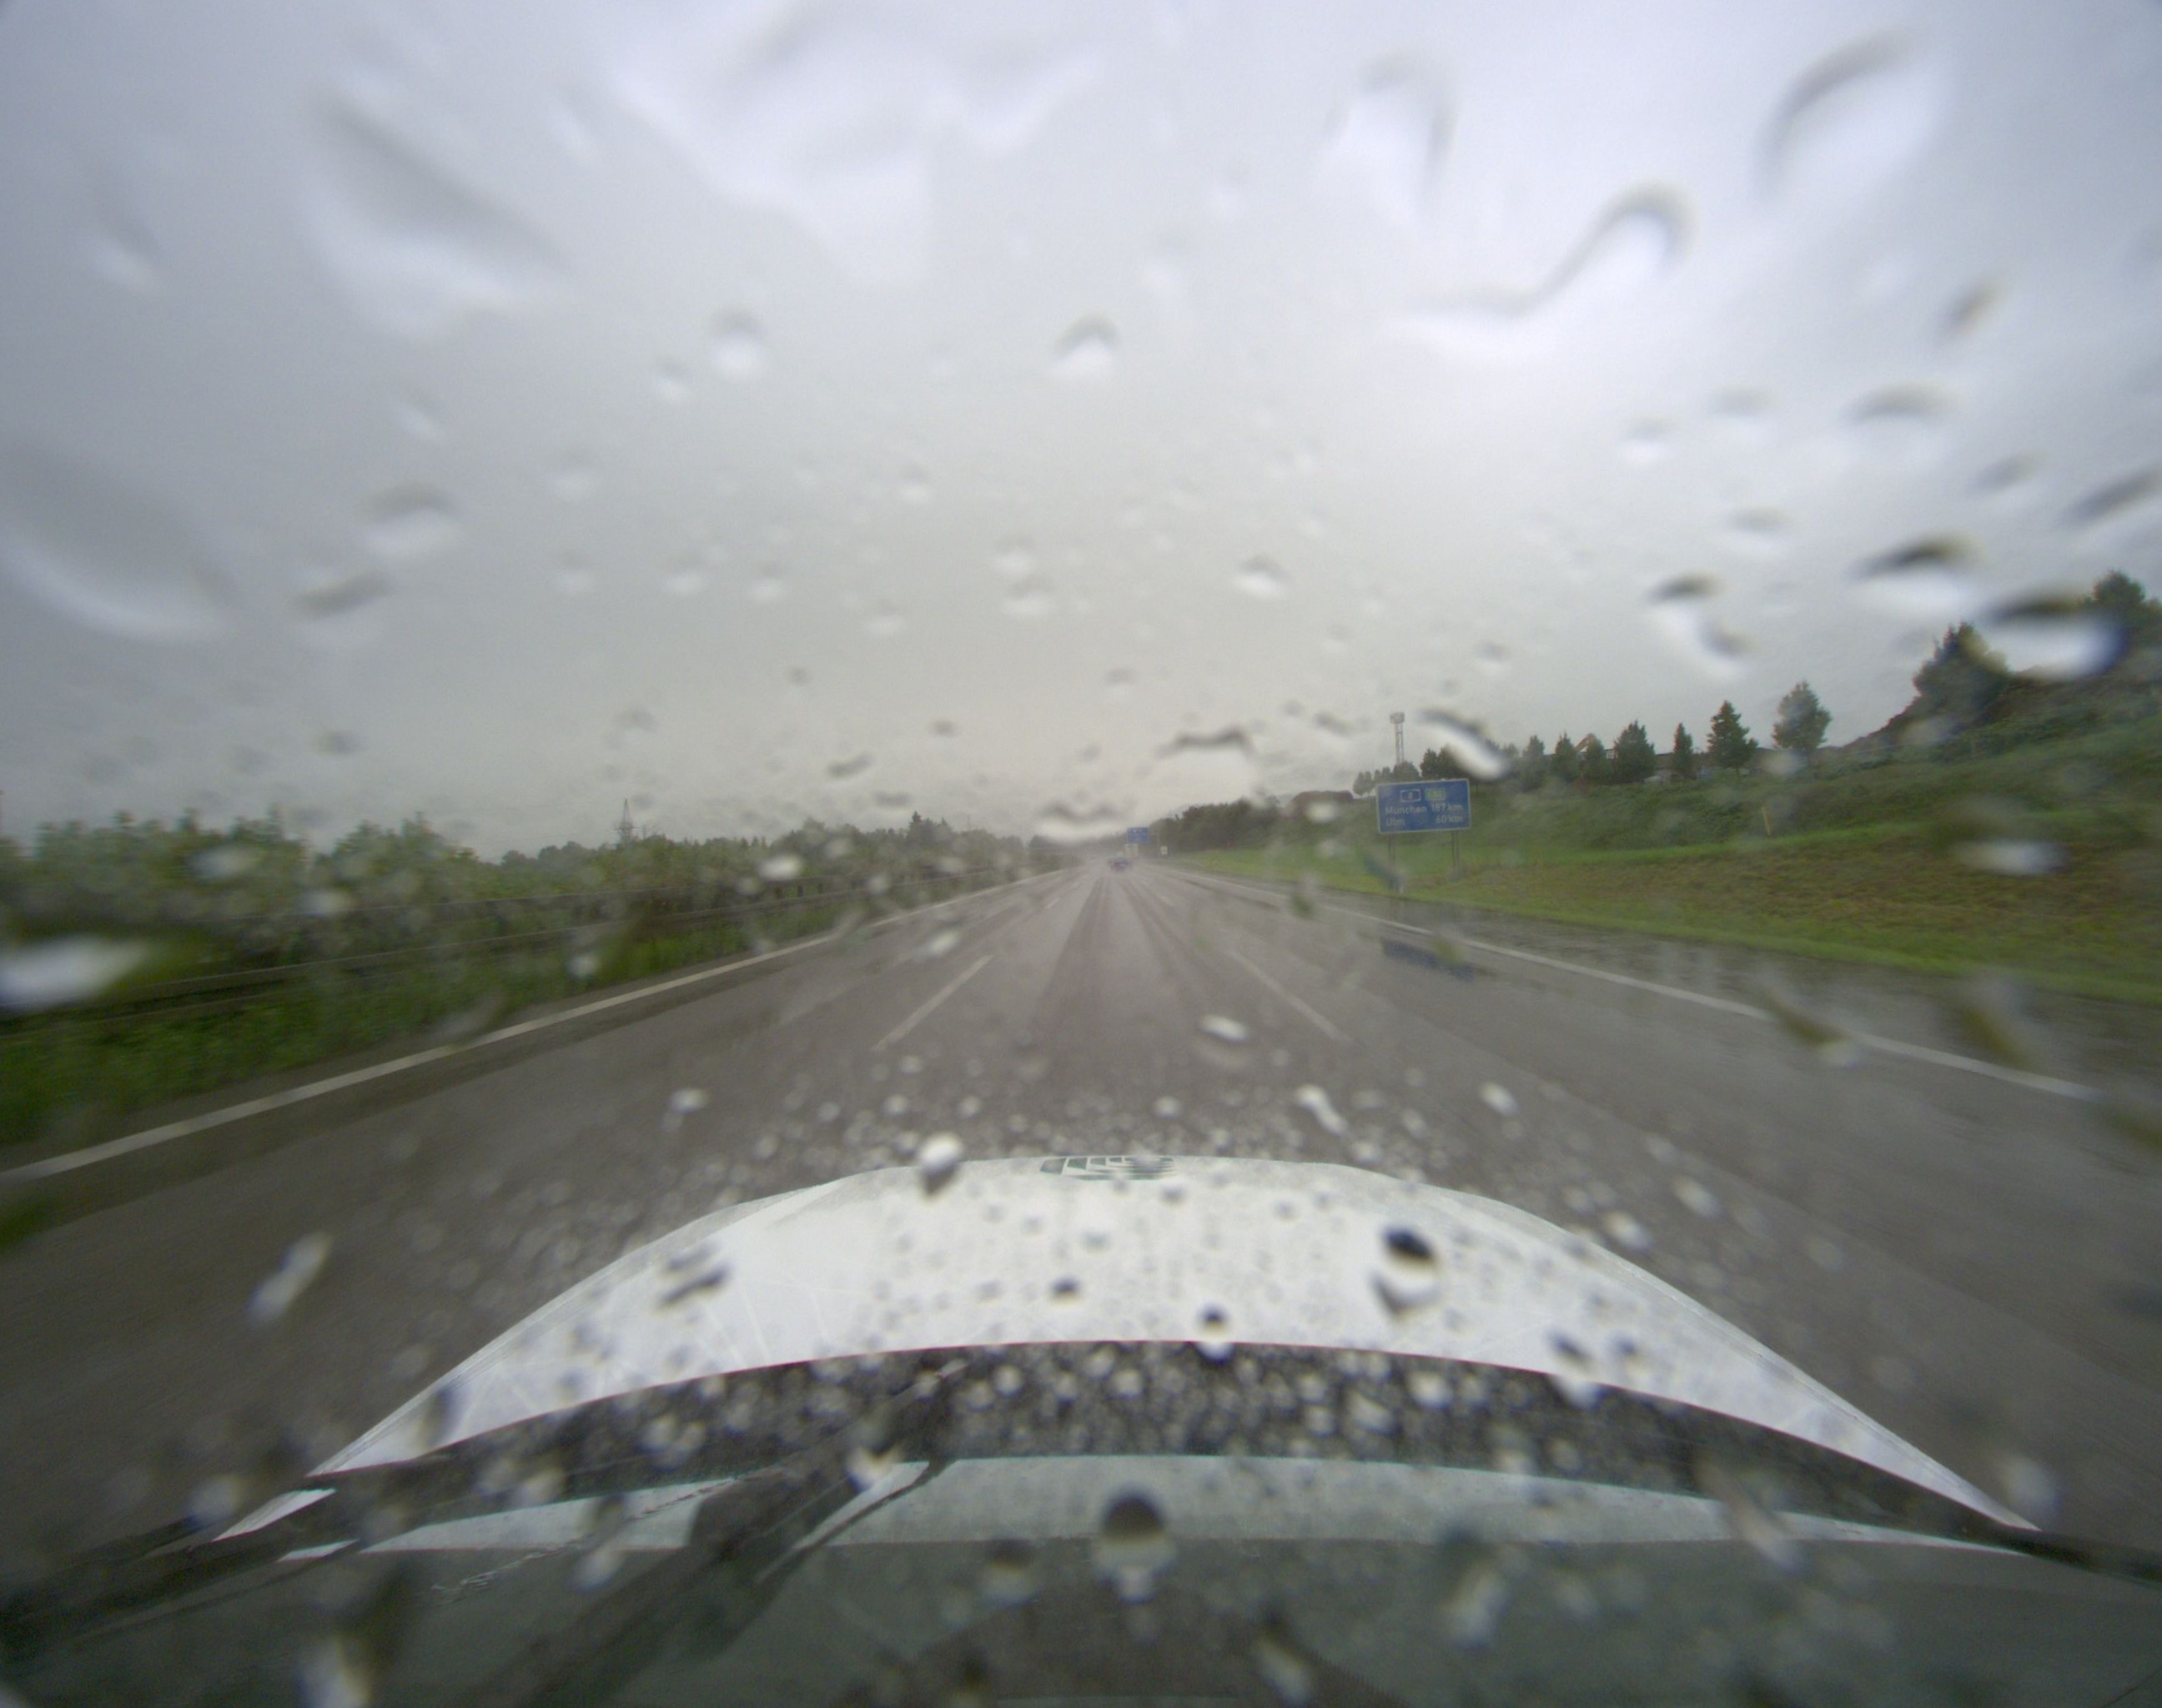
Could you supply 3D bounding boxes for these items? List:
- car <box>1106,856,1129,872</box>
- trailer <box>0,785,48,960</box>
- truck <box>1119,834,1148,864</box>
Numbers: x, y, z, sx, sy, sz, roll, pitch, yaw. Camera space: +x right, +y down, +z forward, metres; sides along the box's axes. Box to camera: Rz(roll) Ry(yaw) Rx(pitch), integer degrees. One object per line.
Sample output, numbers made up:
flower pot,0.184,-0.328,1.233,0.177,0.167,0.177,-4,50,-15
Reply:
car,2.893,0.748,65.408,1.742,1.212,4.001,-1,0,1
trailer,-20.132,0.305,10.735,2.238,3.065,8.269,0,-1,2
truck,9.983,-0.920,156.212,4.243,4.971,17.340,-5,0,1
